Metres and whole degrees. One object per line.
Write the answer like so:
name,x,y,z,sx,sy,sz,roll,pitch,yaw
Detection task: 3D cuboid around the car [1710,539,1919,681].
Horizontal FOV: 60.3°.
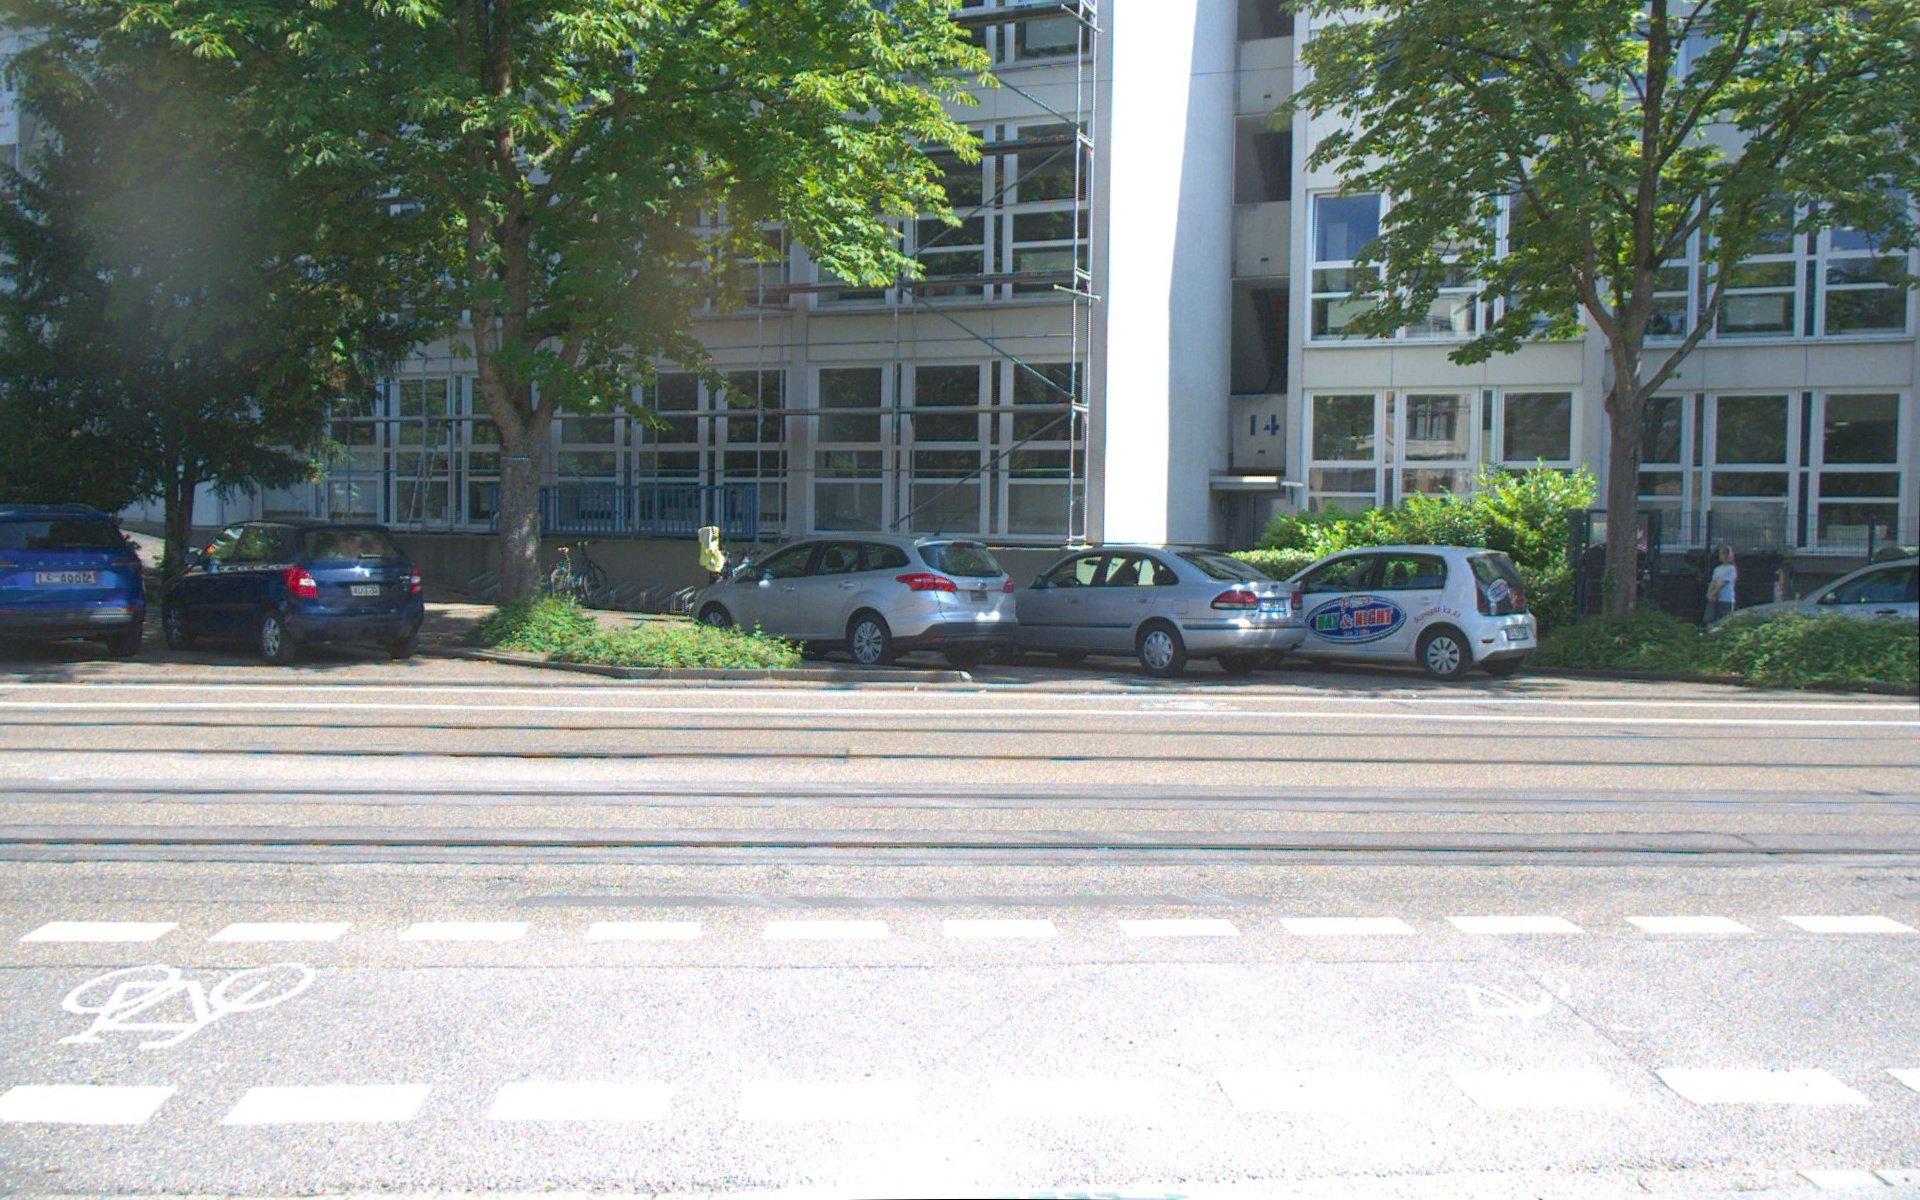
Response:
car,11.501,0.114,19.883,4.263,1.632,1.551,2,2,39

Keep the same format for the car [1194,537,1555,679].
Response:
car,4.826,0.030,19.573,3.876,1.512,1.603,1,2,43

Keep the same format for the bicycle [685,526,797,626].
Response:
bicycle,-3.377,-0.394,25.690,0.648,1.478,2.088,2,2,27

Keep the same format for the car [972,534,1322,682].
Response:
car,2.088,0.020,19.189,3.878,1.511,1.602,3,3,44

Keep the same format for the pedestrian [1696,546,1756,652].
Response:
pedestrian,10.881,-0.026,23.500,0.608,1.486,0.424,0,2,-6

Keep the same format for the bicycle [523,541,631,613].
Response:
bicycle,-6.095,-0.391,26.453,0.725,1.104,2.205,1,2,15

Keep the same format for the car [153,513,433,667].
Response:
car,-7.477,-0.177,18.429,3.397,1.557,1.567,3,3,42

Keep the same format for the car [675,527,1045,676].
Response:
car,-1.256,-0.061,19.255,4.357,1.511,1.774,3,3,42

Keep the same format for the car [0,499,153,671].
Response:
car,-10.483,-0.252,18.241,1.767,1.650,3.883,-2,5,-44
